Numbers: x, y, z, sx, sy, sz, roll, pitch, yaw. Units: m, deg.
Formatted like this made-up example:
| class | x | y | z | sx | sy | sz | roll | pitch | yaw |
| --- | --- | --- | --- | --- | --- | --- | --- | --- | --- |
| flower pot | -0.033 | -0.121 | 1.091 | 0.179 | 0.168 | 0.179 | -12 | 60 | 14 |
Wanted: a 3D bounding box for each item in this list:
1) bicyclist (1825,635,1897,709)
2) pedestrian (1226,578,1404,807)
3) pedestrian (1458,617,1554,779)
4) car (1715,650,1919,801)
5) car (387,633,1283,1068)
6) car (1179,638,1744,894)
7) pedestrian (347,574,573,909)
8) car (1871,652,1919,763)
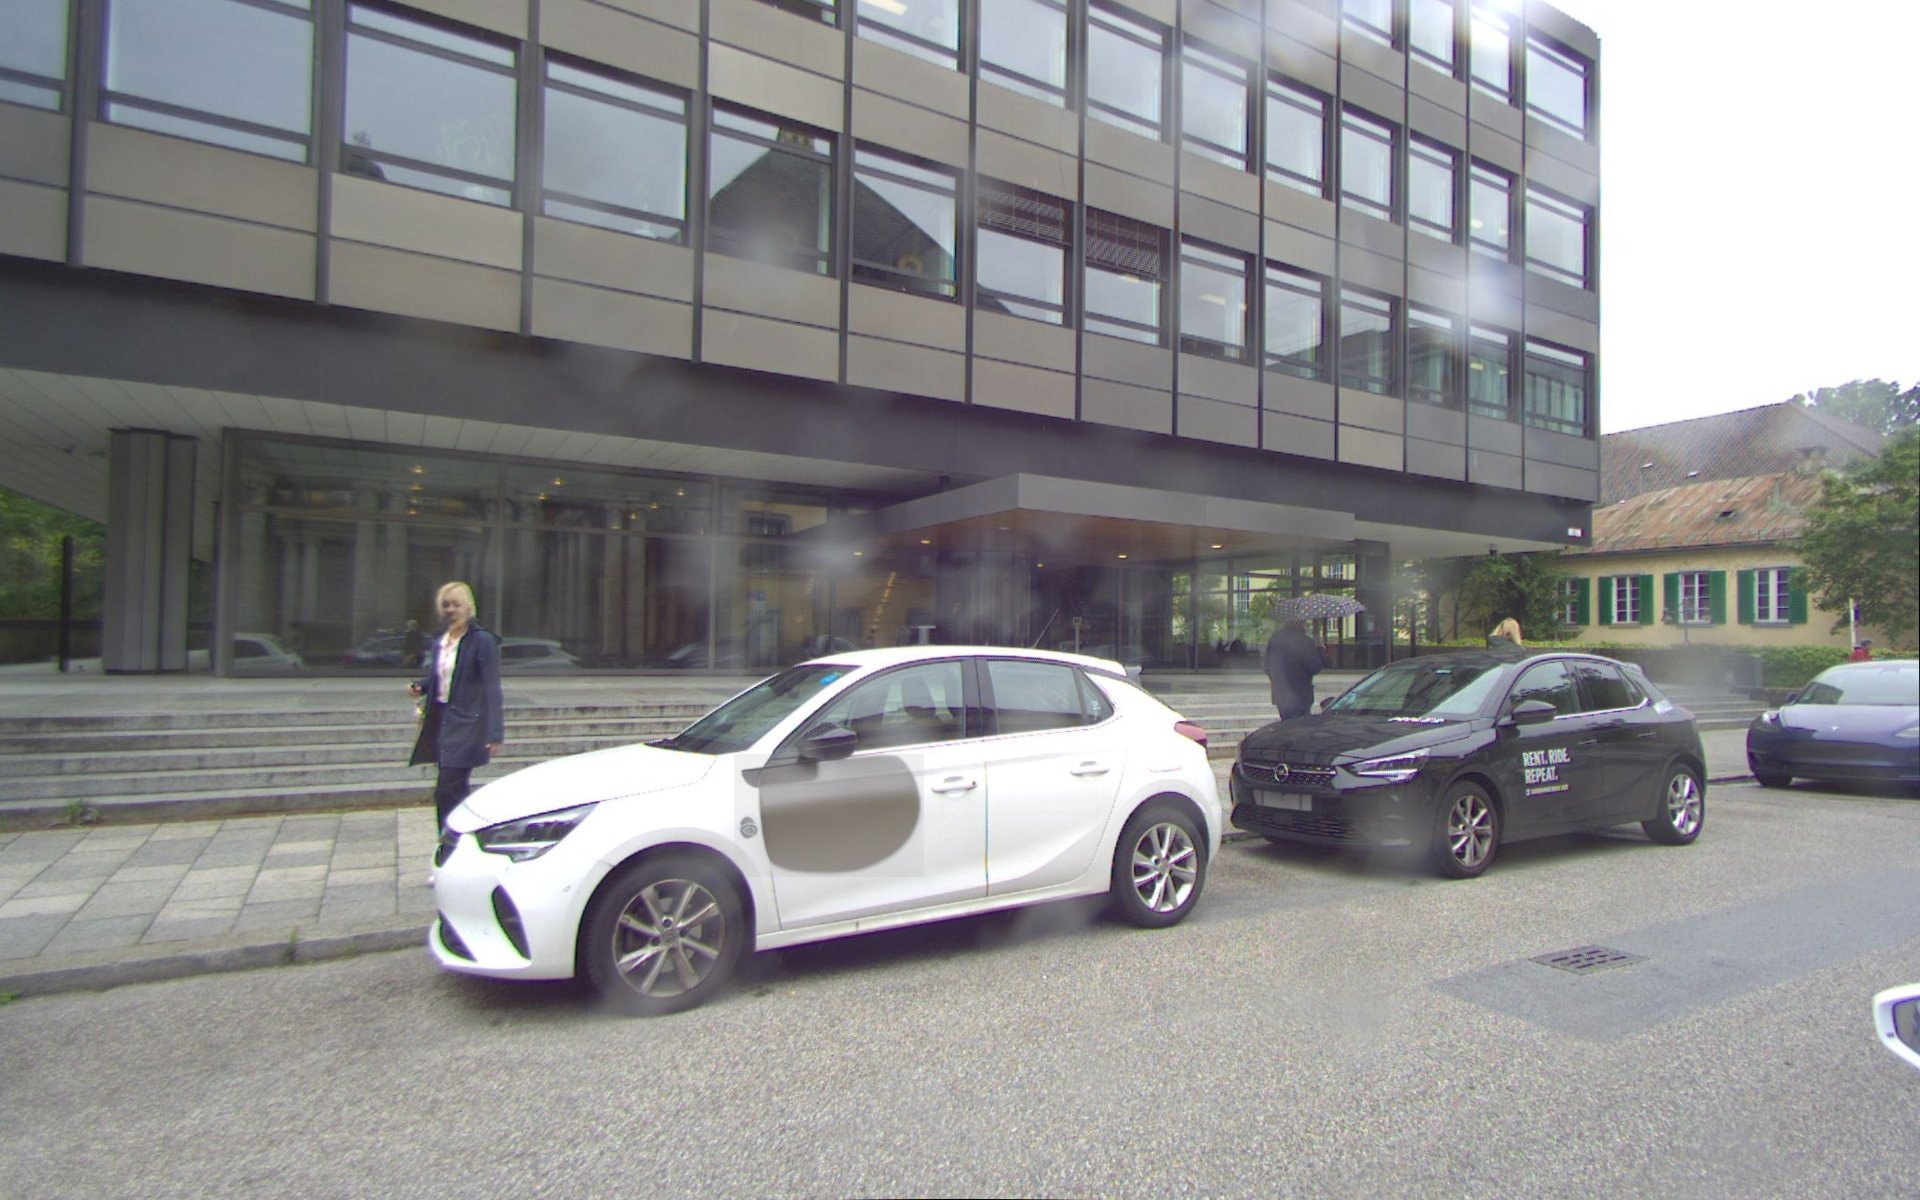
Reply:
| class | x | y | z | sx | sy | sz | roll | pitch | yaw |
| --- | --- | --- | --- | --- | --- | --- | --- | --- | --- |
| bicyclist | 19.202 | 1.521 | 21.435 | 1.077 | 1.517 | 0.671 | 0 | -3 | 37 |
| pedestrian | 3.497 | 0.859 | 9.944 | 1.207 | 2.082 | 1.129 | 2 | -1 | -30 |
| pedestrian | 6.310 | 1.098 | 11.599 | 0.745 | 1.772 | 0.947 | -1 | -3 | 44 |
| car | 10.995 | 1.356 | 11.643 | 4.863 | 1.458 | 1.913 | 3 | -5 | -32 |
| car | -0.488 | 0.973 | 5.196 | 4.228 | 1.458 | 1.675 | 2 | -5 | -29 |
| car | 3.858 | 1.083 | 7.617 | 4.184 | 1.480 | 1.733 | 2 | -5 | -29 |
| pedestrian | -2.923 | 0.771 | 5.939 | 0.677 | 1.775 | 0.893 | 2 | -1 | 21 |
| car | 15.406 | 1.511 | 14.407 | 4.824 | 1.510 | 1.986 | 2 | -4 | -29 |
